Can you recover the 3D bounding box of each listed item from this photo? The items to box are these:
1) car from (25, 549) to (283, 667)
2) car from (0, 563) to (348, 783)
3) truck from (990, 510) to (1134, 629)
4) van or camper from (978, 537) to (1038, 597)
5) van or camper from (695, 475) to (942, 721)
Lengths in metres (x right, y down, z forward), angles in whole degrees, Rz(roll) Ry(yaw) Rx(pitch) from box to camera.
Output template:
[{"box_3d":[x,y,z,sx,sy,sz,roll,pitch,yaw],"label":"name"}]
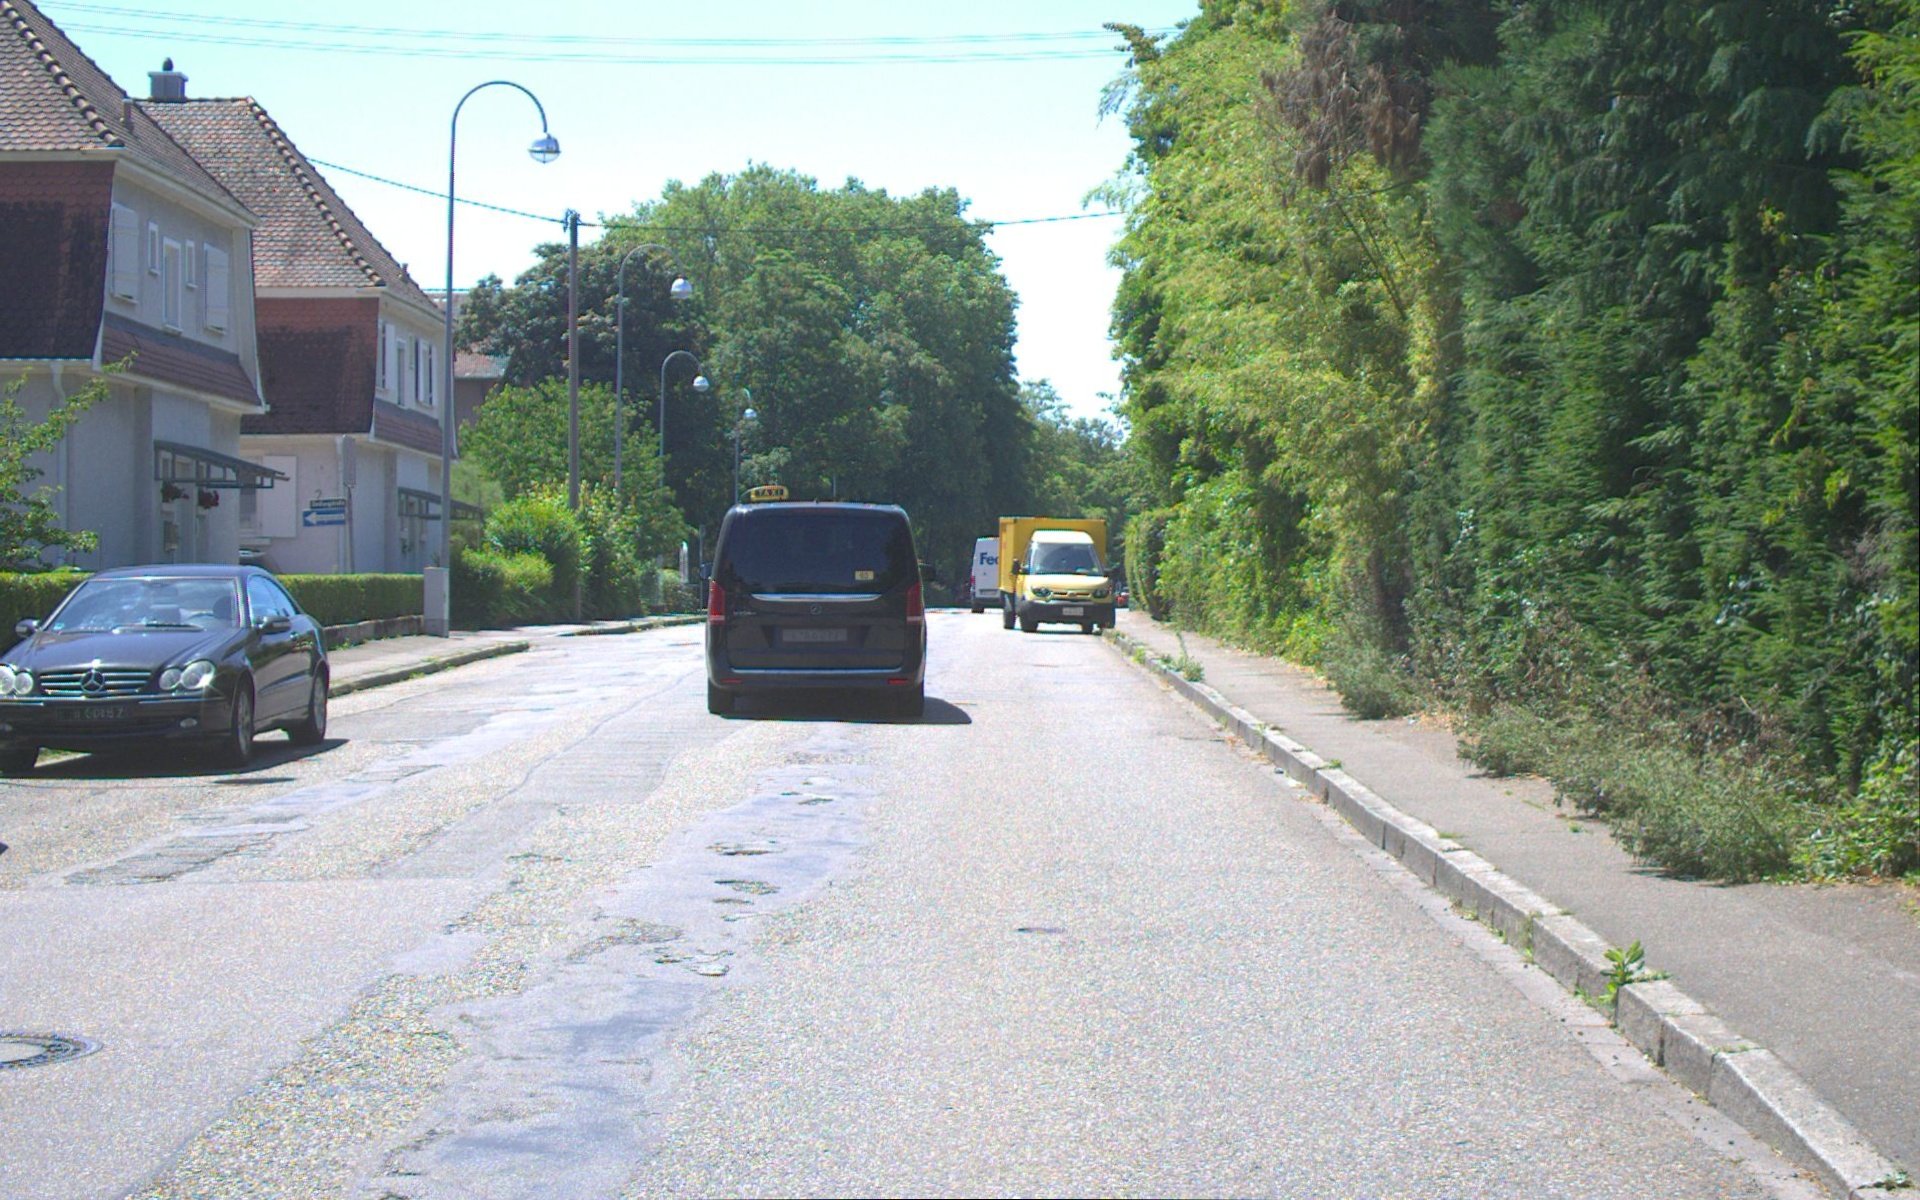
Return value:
[{"box_3d":[-13.507,0.122,57.732,3.867,1.898,1.880,-1,1,0],"label":"car"},{"box_3d":[-5.683,0.457,24.768,1.666,1.381,4.380,-2,1,1],"label":"car"},{"box_3d":[1.950,-0.594,67.882,2.355,2.251,6.092,0,0,-3],"label":"truck"},{"box_3d":[1.656,-1.133,117.843,1.993,2.007,4.000,0,0,2],"label":"van or camper"},{"box_3d":[-1.189,-0.042,31.180,1.903,2.007,5.270,1,1,1],"label":"van or camper"}]
